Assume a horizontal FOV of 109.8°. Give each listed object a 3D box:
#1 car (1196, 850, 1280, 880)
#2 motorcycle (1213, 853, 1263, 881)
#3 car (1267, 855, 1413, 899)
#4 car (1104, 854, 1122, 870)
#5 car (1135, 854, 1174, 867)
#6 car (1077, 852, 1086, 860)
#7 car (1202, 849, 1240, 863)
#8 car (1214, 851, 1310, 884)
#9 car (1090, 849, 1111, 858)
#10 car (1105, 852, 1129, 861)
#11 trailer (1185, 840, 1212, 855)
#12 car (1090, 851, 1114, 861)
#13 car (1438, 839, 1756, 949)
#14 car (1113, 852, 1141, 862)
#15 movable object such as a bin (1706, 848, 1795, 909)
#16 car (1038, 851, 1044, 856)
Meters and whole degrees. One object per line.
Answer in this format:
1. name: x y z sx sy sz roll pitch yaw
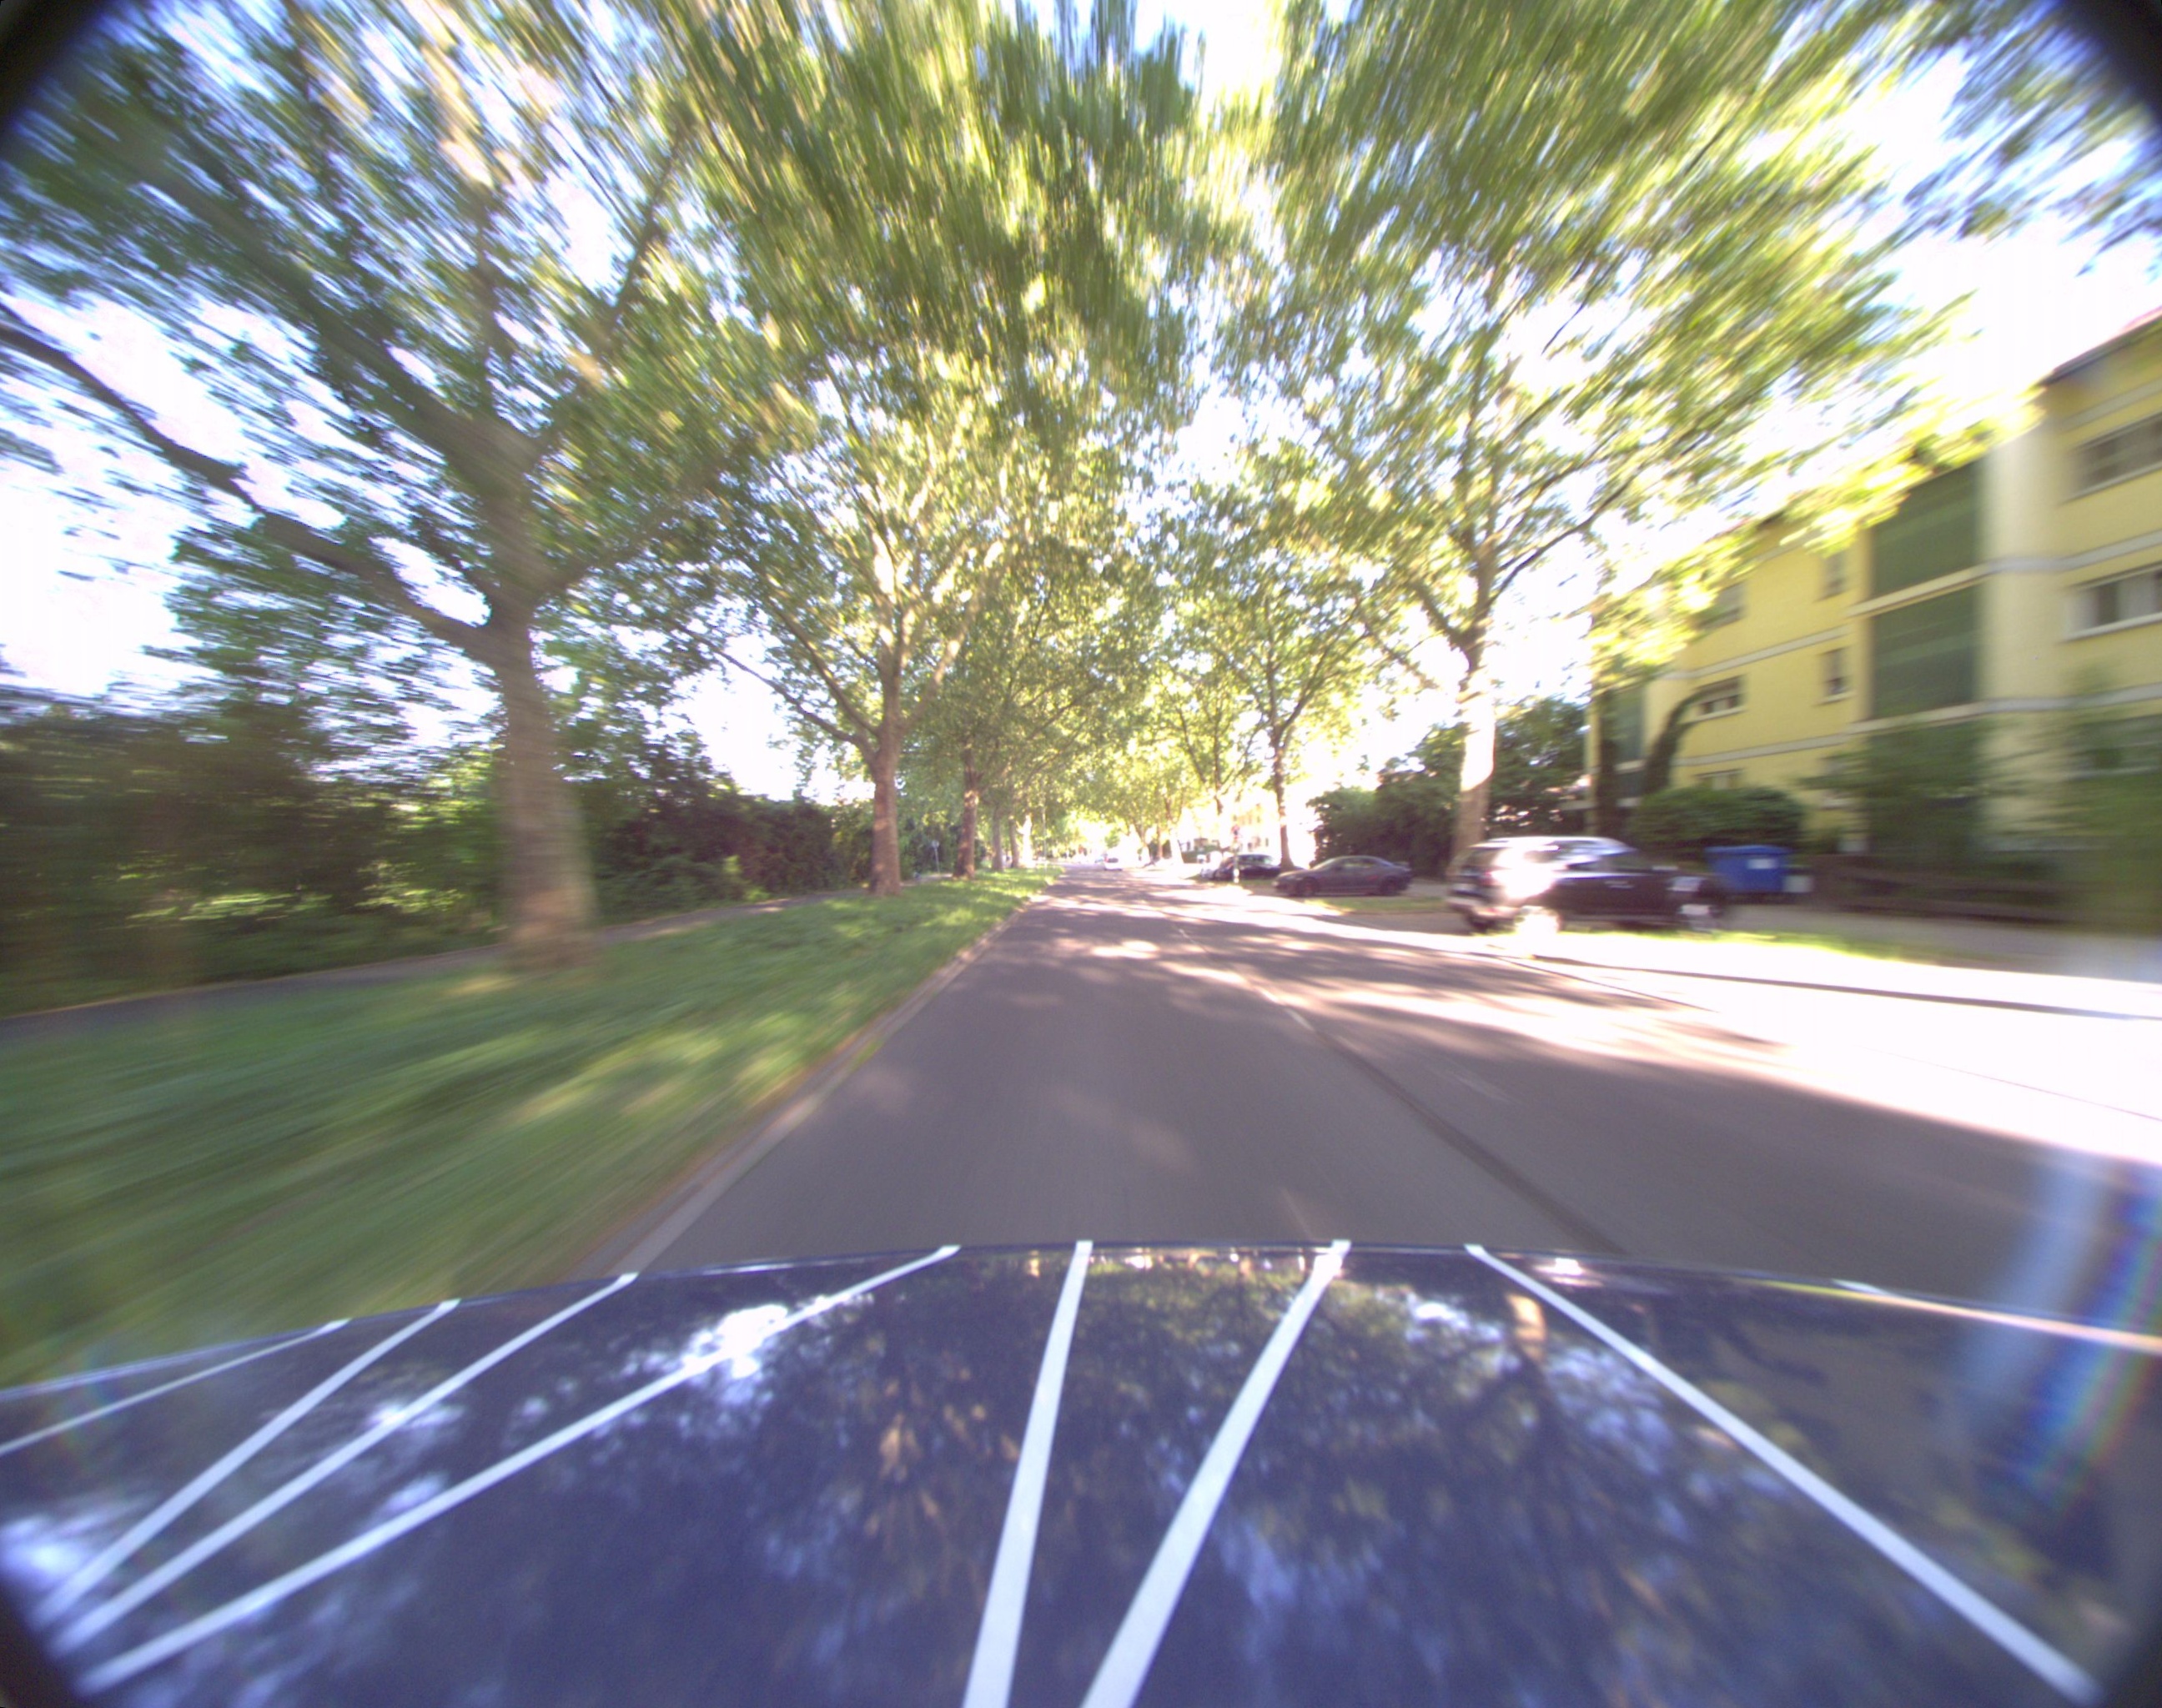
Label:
1. car: 8.657 0.588 42.098 4.195 1.575 1.999 -1 1 -4
2. motorcycle: 8.087 0.666 39.161 2.392 1.380 0.648 -2 0 -5
3. car: 8.508 0.745 25.170 4.251 1.345 1.741 0 1 -1
4. car: 3.104 0.756 74.284 1.539 1.450 3.184 -1 0 -2
5. car: 7.613 0.676 79.198 3.836 1.308 1.789 -1 1 -3
6. car: 0.044 0.319 149.687 1.788 1.504 3.837 -1 1 0
7. car: 15.995 0.251 86.852 3.997 1.455 1.901 -2 -1 -1
8. car: 8.713 0.645 36.826 4.172 1.497 1.801 -1 0 -3
9. car: 3.948 -0.025 156.557 4.104 1.706 1.830 -1 1 -6
10. car: 6.312 0.448 131.895 3.883 1.509 1.664 -1 0 -8
11. trailer: 16.696 -0.921 108.146 3.463 1.914 1.643 -5 0 -4
12. car: 3.873 0.380 141.564 4.397 1.813 1.995 -1 0 -2
13. car: 8.583 0.637 12.881 4.254 1.670 1.670 -1 1 0
14. car: 7.131 0.426 117.642 3.999 1.509 1.816 -2 0 -4
15. movable object such as a bin: 15.272 0.535 17.362 1.188 1.342 0.953 0 1 0
16. car: -12.807 -0.239 245.017 1.721 1.492 4.093 -1 0 -1
